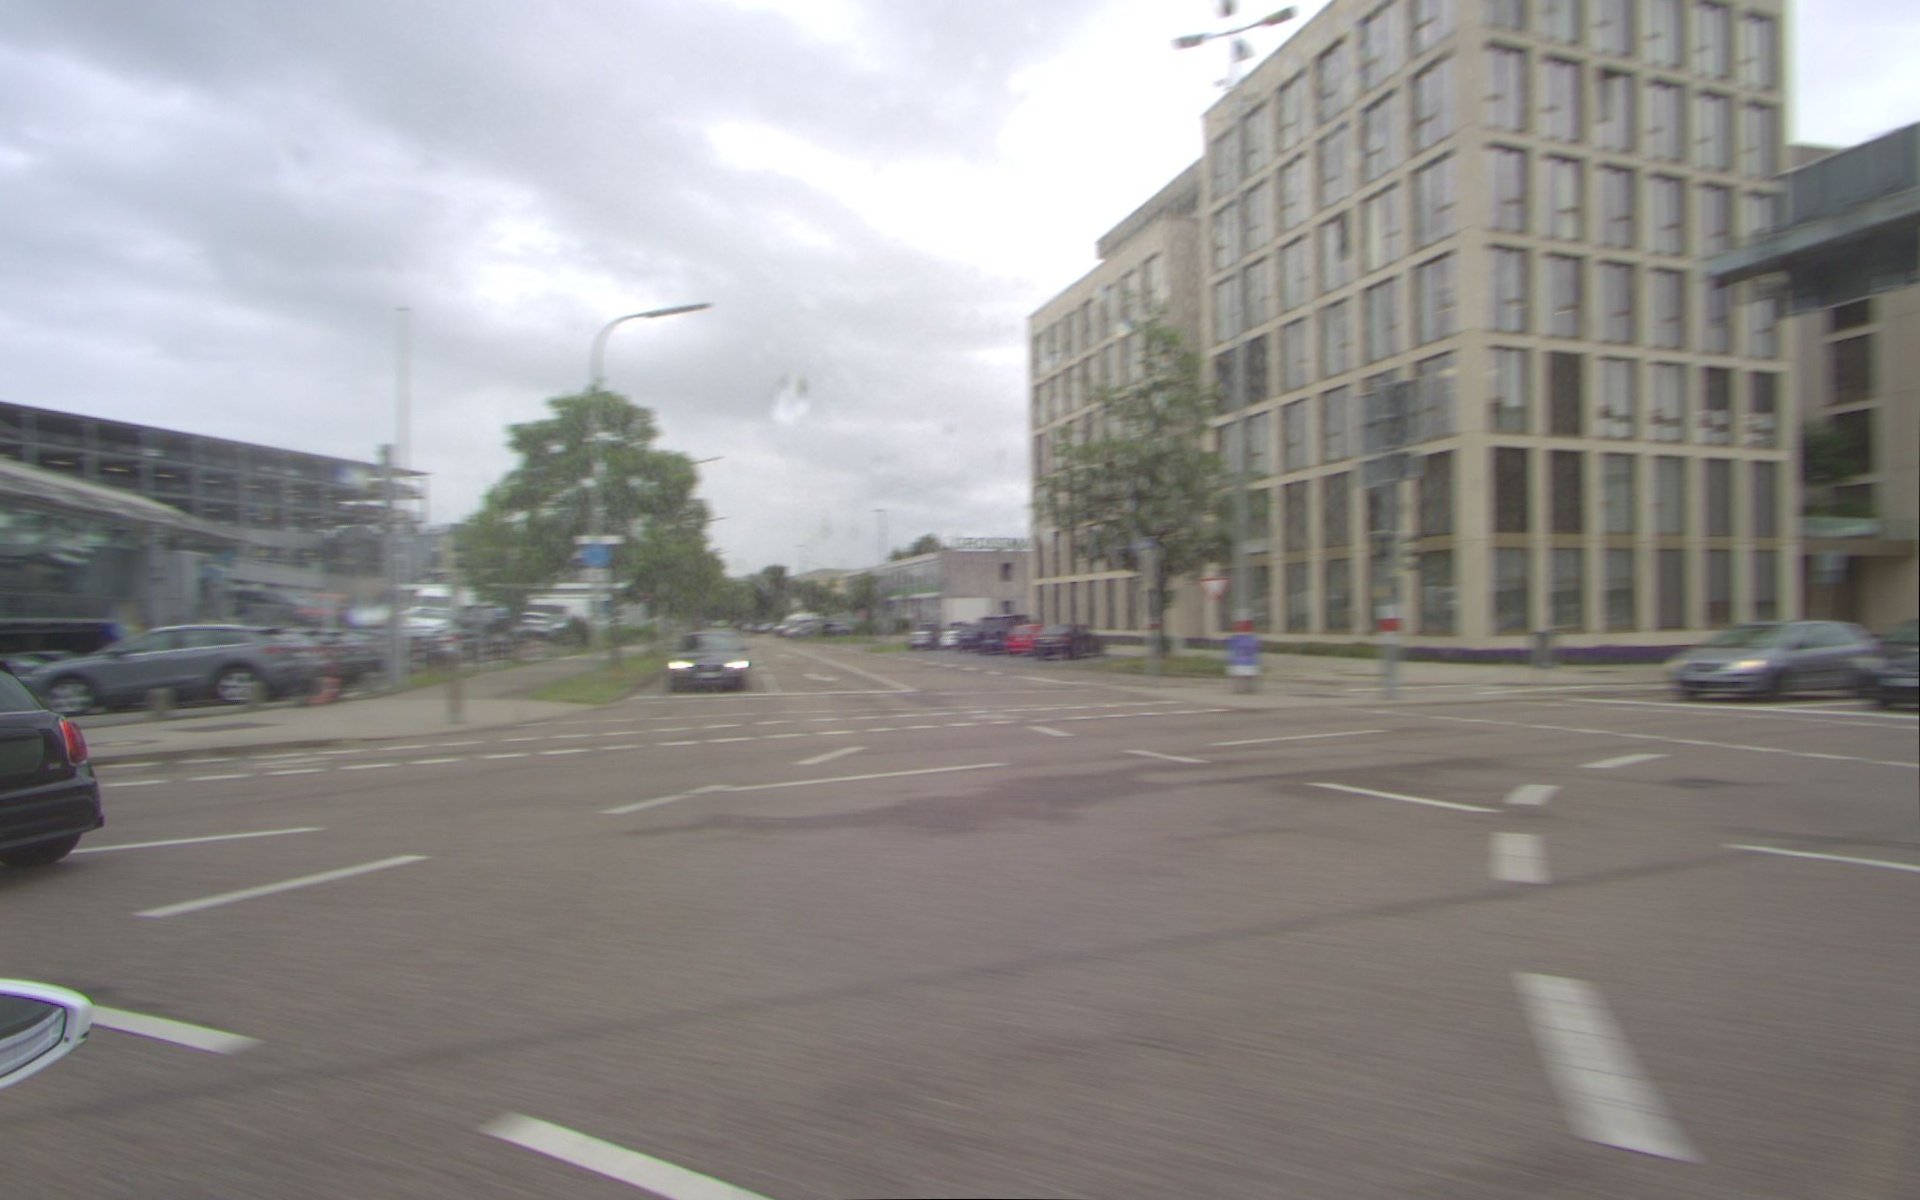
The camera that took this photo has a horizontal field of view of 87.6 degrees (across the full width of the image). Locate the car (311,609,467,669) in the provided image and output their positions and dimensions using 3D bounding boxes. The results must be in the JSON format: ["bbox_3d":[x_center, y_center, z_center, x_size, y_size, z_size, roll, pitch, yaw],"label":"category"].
[{"bbox_3d":[-21.830,1.480,38.522,4.824,2.039,1.996,-2,-1,-20],"label":"car"}]

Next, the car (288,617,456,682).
[{"bbox_3d":[-20.893,1.731,35.841,4.824,2.039,1.996,-2,-1,-20],"label":"car"}]

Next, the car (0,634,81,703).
[{"bbox_3d":[-29.621,2.051,29.821,4.733,1.965,1.996,-1,-1,-18],"label":"car"}]

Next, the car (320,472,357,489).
[{"bbox_3d":[-79.994,-15.372,128.868,3.928,1.689,1.998,0,-1,17],"label":"car"}]

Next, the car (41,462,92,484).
[{"bbox_3d":[-88.204,-12.500,98.892,3.928,1.689,1.998,0,-1,17],"label":"car"}]

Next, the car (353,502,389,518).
[{"bbox_3d":[-78.508,-11.993,133.500,3.928,1.689,1.998,0,-1,17],"label":"car"}]

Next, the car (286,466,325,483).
[{"bbox_3d":[-80.968,-15.478,123.852,3.928,1.689,1.998,0,-1,17],"label":"car"}]

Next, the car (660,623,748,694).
[{"bbox_3d":[-6.383,1.388,25.073,1.949,1.571,4.609,0,-1,-14],"label":"car"}]

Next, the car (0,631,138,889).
[{"bbox_3d":[-7.127,0.915,5.671,3.572,1.433,1.793,-1,-2,4],"label":"car"}]

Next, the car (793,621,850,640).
[{"bbox_3d":[-13.280,2.936,96.118,5.100,1.741,2.140,1,-2,-17],"label":"car"}]

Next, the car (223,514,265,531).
[{"bbox_3d":[-83.300,-8.951,116.453,3.928,1.689,1.998,0,-1,17],"label":"car"}]

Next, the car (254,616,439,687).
[{"bbox_3d":[-20.195,1.654,33.216,4.824,2.039,1.996,-2,-1,-20],"label":"car"}]

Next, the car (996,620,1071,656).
[{"bbox_3d":[3.465,1.757,46.307,1.861,1.571,4.116,-2,-2,30],"label":"car"}]

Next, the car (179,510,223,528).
[{"bbox_3d":[-84.484,-8.946,111.415,3.928,1.689,1.998,0,-1,17],"label":"car"}]

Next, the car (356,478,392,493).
[{"bbox_3d":[-78.288,-15.294,133.784,3.928,1.689,1.998,0,-1,17],"label":"car"}]

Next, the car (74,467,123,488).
[{"bbox_3d":[-87.224,-12.379,101.378,3.928,1.689,1.998,0,-1,17],"label":"car"}]

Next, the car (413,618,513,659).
[{"bbox_3d":[-23.122,1.809,46.722,3.930,1.861,1.757,1,-2,-18],"label":"car"}]

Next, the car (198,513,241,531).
[{"bbox_3d":[-84.021,-8.847,113.576,3.928,1.689,1.998,0,-1,17],"label":"car"}]

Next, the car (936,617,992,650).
[{"bbox_3d":[0.255,1.948,57.141,1.569,1.821,3.416,-1,-3,33],"label":"car"}]

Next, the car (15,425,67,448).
[{"bbox_3d":[-88.789,-15.753,96.772,3.928,1.689,1.998,0,-1,17],"label":"car"}]

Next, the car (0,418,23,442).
[{"bbox_3d":[-90.271,-15.902,93.816,3.928,1.689,1.998,0,-1,17],"label":"car"}]

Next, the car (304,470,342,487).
[{"bbox_3d":[-80.597,-15.393,126.663,3.928,1.689,1.998,0,-1,17],"label":"car"}]

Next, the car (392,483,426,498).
[{"bbox_3d":[-76.794,-15.237,139.660,3.928,1.689,1.998,0,-1,17],"label":"car"}]

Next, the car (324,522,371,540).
[{"bbox_3d":[-80.358,-9.028,131.436,5.232,1.970,2.209,0,-1,14],"label":"car"}]

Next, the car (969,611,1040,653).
[{"bbox_3d":[2.244,1.584,49.293,1.969,1.990,4.231,-1,-2,27],"label":"car"}]

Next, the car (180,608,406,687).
[{"bbox_3d":[-18.499,1.295,28.085,4.879,1.900,2.049,-2,-1,-21],"label":"car"}]

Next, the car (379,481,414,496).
[{"bbox_3d":[-77.360,-15.290,137.500,3.928,1.689,1.998,0,-1,17],"label":"car"}]

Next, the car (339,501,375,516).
[{"bbox_3d":[-79.068,-12.013,131.327,3.928,1.689,1.998,0,-1,17],"label":"car"}]

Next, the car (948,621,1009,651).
[{"bbox_3d":[0.999,1.875,52.474,1.671,1.530,3.803,-1,-2,28],"label":"car"}]

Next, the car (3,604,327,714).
[{"bbox_3d":[-15.908,1.141,20.396,4.705,1.887,1.996,-2,-1,-20],"label":"car"}]

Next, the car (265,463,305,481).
[{"bbox_3d":[-81.689,-15.517,121.280,3.928,1.689,1.998,0,-1,17],"label":"car"}]

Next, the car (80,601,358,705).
[{"bbox_3d":[-16.666,1.160,22.849,4.634,2.039,1.996,-2,-1,-19],"label":"car"}]

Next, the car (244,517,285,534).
[{"bbox_3d":[-82.468,-8.833,118.799,3.928,1.689,1.998,0,-1,17],"label":"car"}]

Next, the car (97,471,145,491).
[{"bbox_3d":[-86.757,-12.282,103.559,3.928,1.689,1.998,0,-1,17],"label":"car"}]

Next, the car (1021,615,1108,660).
[{"bbox_3d":[4.430,1.571,42.031,1.864,1.791,4.108,-2,-2,35],"label":"car"}]

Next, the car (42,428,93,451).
[{"bbox_3d":[-88.337,-15.860,99.148,3.928,1.689,1.998,0,-1,17],"label":"car"}]

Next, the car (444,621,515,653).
[{"bbox_3d":[-31.506,2.437,65.778,3.930,2.039,1.997,1,-2,-18],"label":"car"}]

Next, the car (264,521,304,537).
[{"bbox_3d":[-82.018,-8.636,121.432,3.928,1.689,1.998,0,-1,17],"label":"car"}]

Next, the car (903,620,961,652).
[{"bbox_3d":[-1.611,2.113,58.300,1.742,1.754,3.416,-1,-3,33],"label":"car"}]

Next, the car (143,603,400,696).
[{"bbox_3d":[-17.457,1.217,25.747,4.952,2.039,2.262,-2,-1,-20],"label":"car"}]
